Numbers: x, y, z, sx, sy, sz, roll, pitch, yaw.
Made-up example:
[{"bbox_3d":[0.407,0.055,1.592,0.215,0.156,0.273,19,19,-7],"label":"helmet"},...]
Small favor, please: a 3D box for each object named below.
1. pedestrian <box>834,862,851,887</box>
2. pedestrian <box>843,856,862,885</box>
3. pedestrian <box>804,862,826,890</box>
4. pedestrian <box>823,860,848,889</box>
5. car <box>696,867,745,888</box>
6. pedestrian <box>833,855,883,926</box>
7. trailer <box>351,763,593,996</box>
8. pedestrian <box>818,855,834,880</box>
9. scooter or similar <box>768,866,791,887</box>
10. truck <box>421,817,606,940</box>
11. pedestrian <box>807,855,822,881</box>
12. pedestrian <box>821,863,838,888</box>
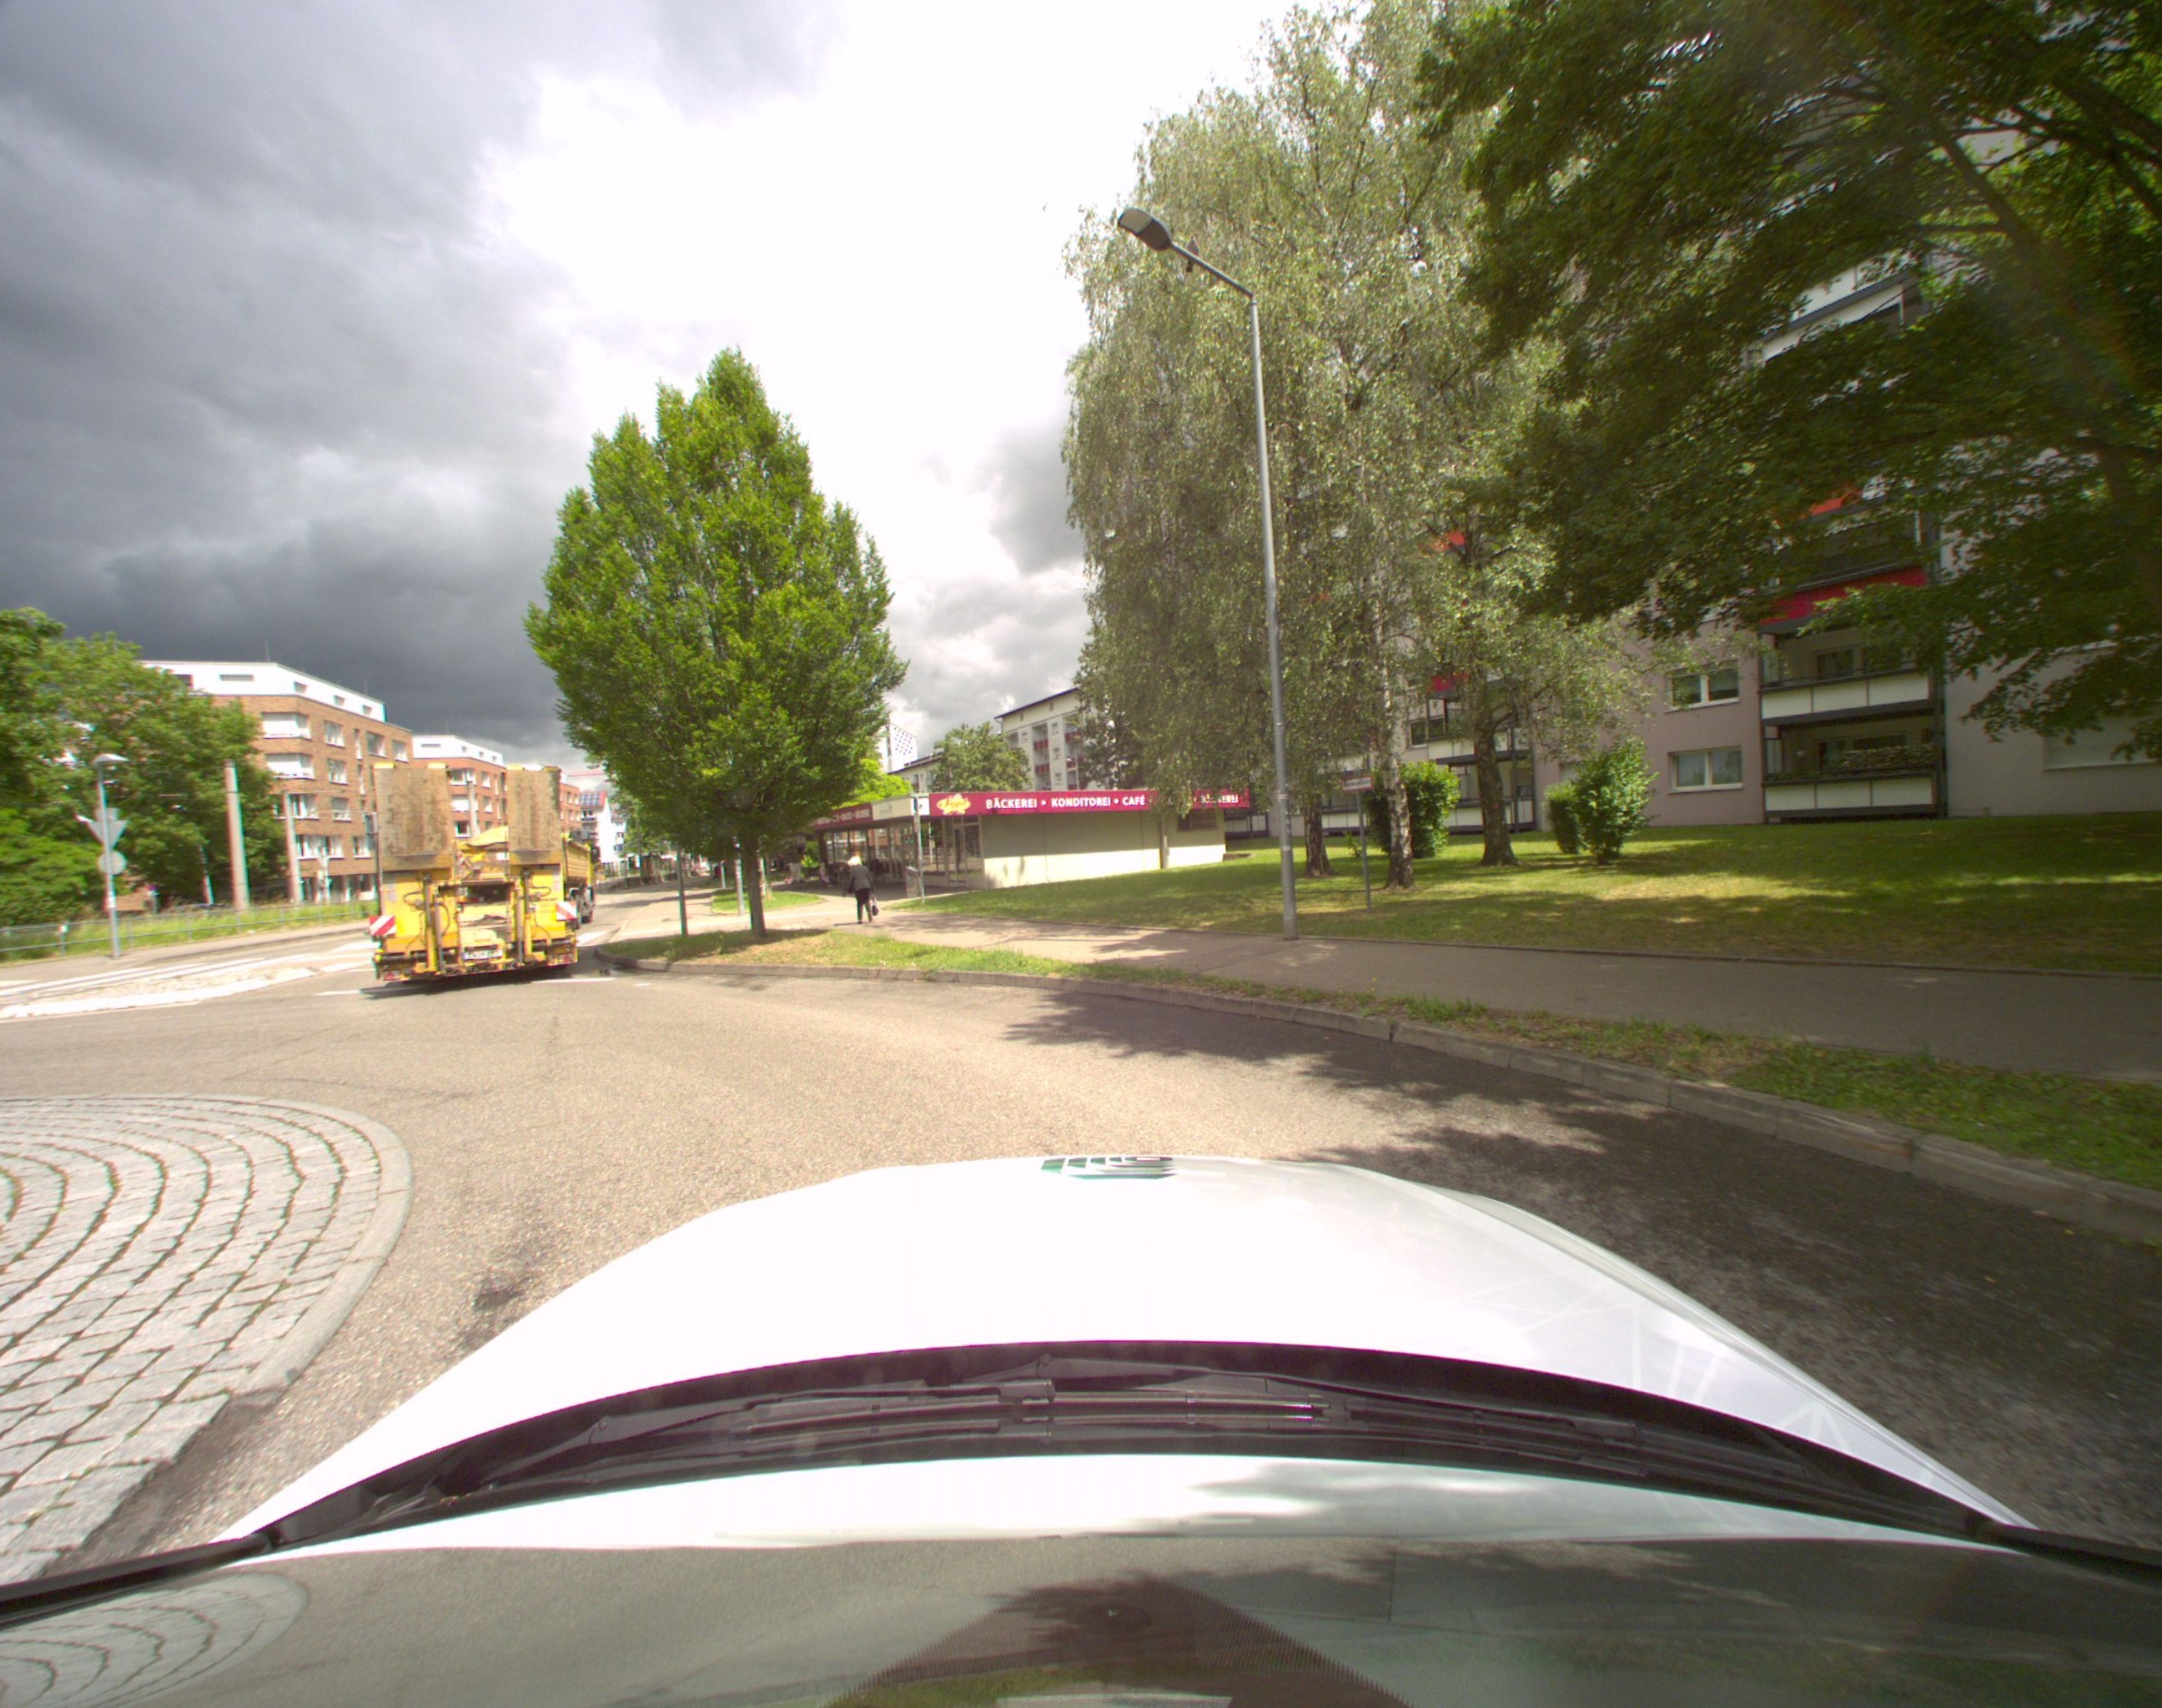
[{"bbox_3d":[-12.263,1.046,41.832,0.720,1.201,0.694,-5,1,-18],"label":"pedestrian"},{"bbox_3d":[-11.452,0.835,40.784,0.721,1.380,0.693,-5,1,-25],"label":"pedestrian"},{"bbox_3d":[-13.275,1.101,40.660,0.882,1.324,0.606,-5,1,-24],"label":"pedestrian"},{"bbox_3d":[-12.143,0.999,40.282,0.884,1.324,0.814,-5,4,-32],"label":"pedestrian"},{"bbox_3d":[-33.597,2.191,76.051,4.001,1.511,1.987,-3,3,-20],"label":"car"},{"bbox_3d":[-5.145,0.814,18.794,0.876,1.519,0.797,-5,2,-25],"label":"pedestrian"},{"bbox_3d":[-12.281,0.428,17.068,2.885,3.372,10.726,-3,0,-34],"label":"trailer"},{"bbox_3d":[-15.676,0.814,50.050,0.701,1.488,0.552,-5,1,-28],"label":"pedestrian"},{"bbox_3d":[-19.361,1.445,52.359,0.515,1.226,1.736,-4,2,8],"label":"scooter or similar"},{"bbox_3d":[-17.198,0.572,25.412,3.002,3.034,8.419,-4,2,-24],"label":"truck"},{"bbox_3d":[-16.443,0.866,50.267,0.701,1.573,0.552,-5,1,-28],"label":"pedestrian"},{"bbox_3d":[-12.870,1.088,41.722,0.720,1.201,0.694,-5,1,-18],"label":"pedestrian"}]
